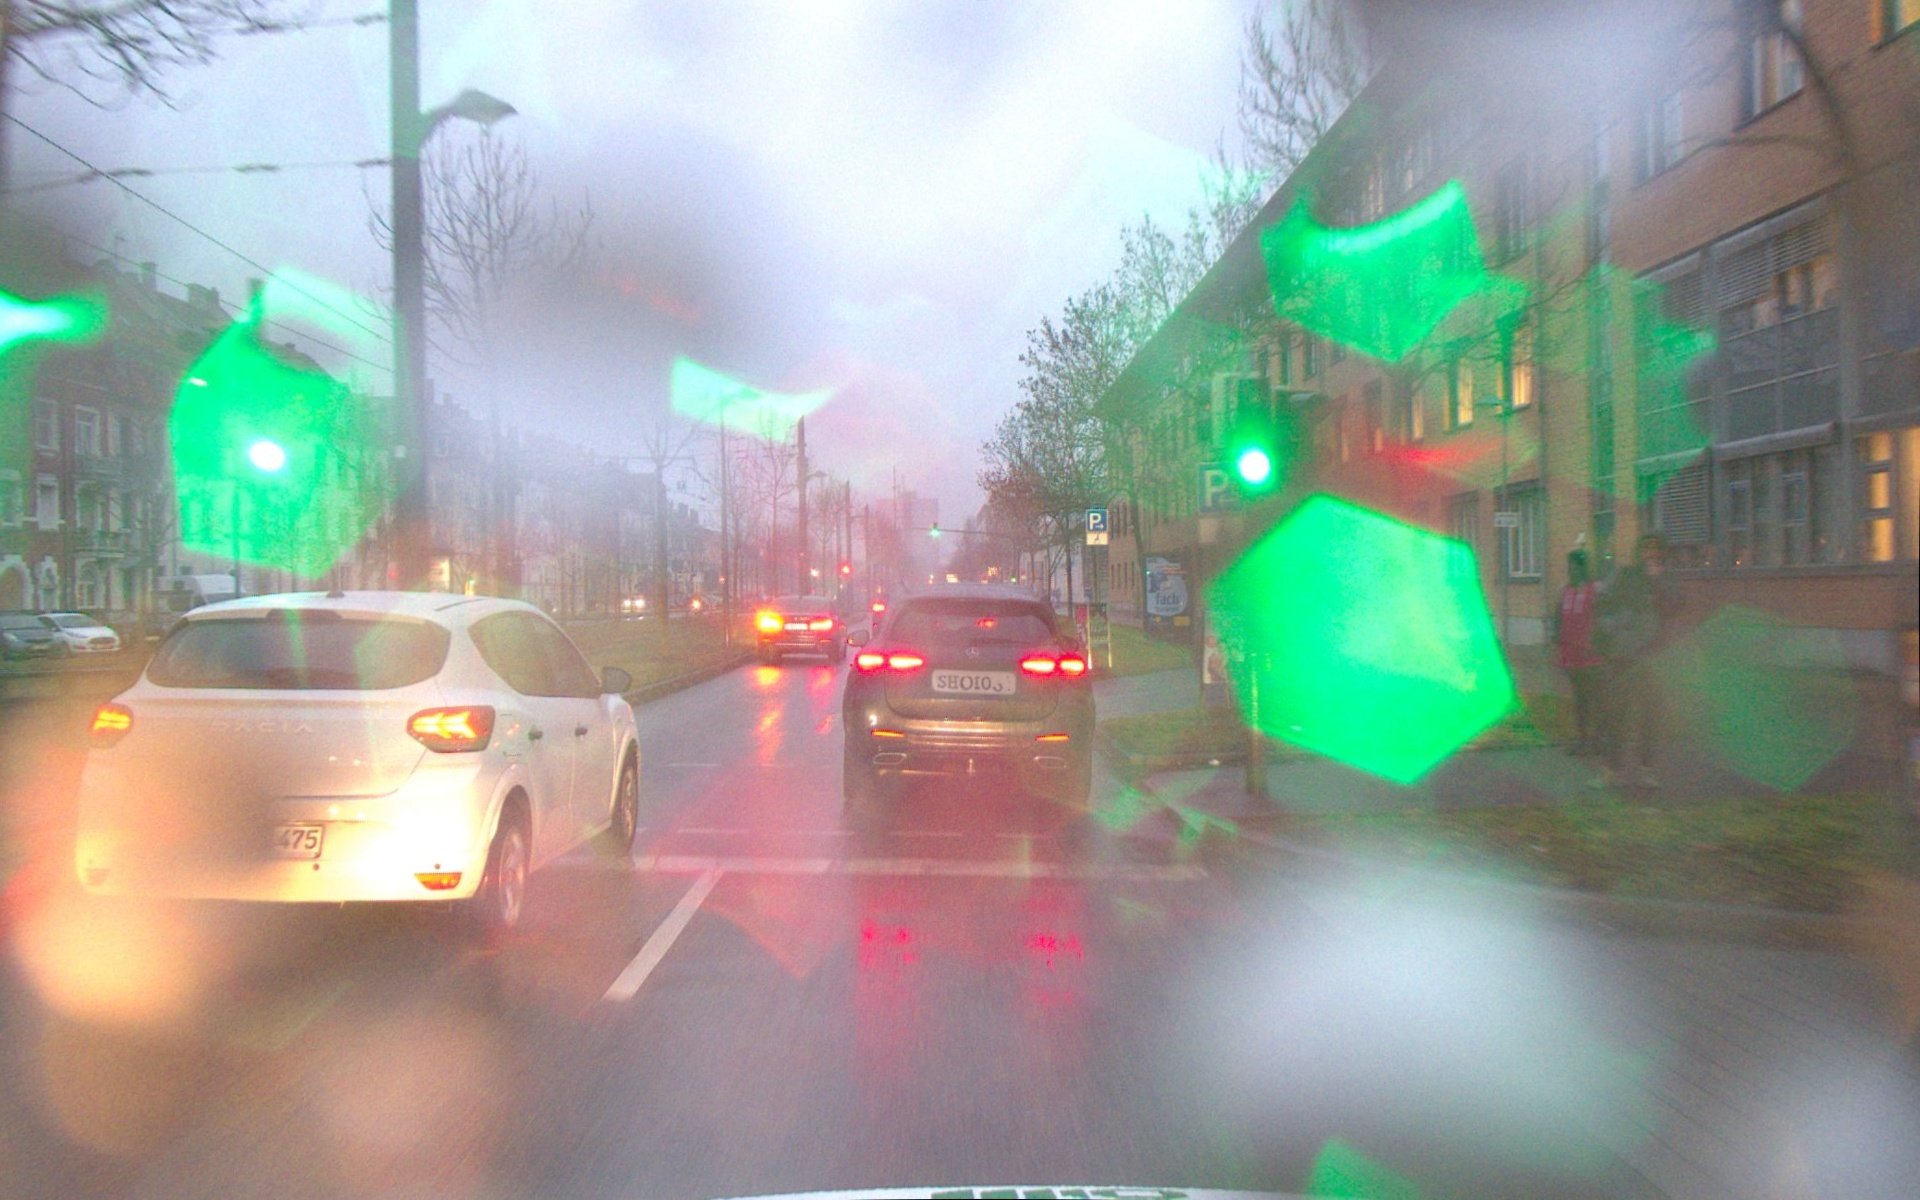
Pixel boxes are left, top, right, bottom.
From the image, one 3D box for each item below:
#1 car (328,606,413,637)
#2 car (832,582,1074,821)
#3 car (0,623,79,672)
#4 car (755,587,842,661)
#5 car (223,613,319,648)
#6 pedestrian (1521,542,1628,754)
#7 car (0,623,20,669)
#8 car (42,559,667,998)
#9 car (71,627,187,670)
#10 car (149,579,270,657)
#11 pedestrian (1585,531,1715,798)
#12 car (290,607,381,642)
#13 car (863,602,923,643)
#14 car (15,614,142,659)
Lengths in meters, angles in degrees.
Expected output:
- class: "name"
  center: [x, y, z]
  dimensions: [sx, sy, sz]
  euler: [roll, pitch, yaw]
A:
- class: "car"
  center: [-28.275, 1.029, 79.267]
  dimensions: [3.921, 1.355, 1.992]
  euler: [-1, 0, 37]
- class: "car"
  center: [-0.067, 0.687, 13.268]
  dimensions: [1.638, 1.628, 4.053]
  euler: [0, 0, -1]
- class: "car"
  center: [-28.473, 1.419, 49.649]
  dimensions: [3.918, 1.355, 1.993]
  euler: [-1, 0, 35]
- class: "car"
  center: [-3.677, 0.524, 38.153]
  dimensions: [1.638, 1.628, 4.053]
  euler: [0, 0, -1]
- class: "car"
  center: [-28.941, 1.297, 69.469]
  dimensions: [3.921, 1.355, 1.992]
  euler: [-1, 0, 37]
- class: "pedestrian"
  center: [5.314, 0.403, 14.312]
  dimensions: [0.499, 1.772, 0.650]
  euler: [-2, 0, -33]
- class: "car"
  center: [-27.114, 1.271, 44.316]
  dimensions: [3.922, 1.189, 1.992]
  euler: [-1, 0, 37]
- class: "car"
  center: [-2.609, 0.661, 8.185]
  dimensions: [1.638, 1.628, 4.053]
  euler: [0, 0, -1]
- class: "car"
  center: [-28.274, 1.647, 56.228]
  dimensions: [3.921, 1.355, 1.992]
  euler: [-1, 0, 37]
- class: "car"
  center: [-28.812, 0.701, 63.387]
  dimensions: [5.760, 2.846, 1.989]
  euler: [-1, 0, 41]
- class: "pedestrian"
  center: [4.963, 0.448, 11.917]
  dimensions: [0.498, 1.856, 0.652]
  euler: [-2, 0, -27]
- class: "car"
  center: [-28.767, 1.114, 76.159]
  dimensions: [3.916, 1.512, 1.994]
  euler: [-1, 0, 34]
- class: "car"
  center: [-2.335, 0.761, 58.264]
  dimensions: [1.953, 1.321, 3.479]
  euler: [-2, 0, 0]
- class: "car"
  center: [-28.280, 1.170, 53.032]
  dimensions: [3.917, 1.355, 1.994]
  euler: [-1, 0, 34]
